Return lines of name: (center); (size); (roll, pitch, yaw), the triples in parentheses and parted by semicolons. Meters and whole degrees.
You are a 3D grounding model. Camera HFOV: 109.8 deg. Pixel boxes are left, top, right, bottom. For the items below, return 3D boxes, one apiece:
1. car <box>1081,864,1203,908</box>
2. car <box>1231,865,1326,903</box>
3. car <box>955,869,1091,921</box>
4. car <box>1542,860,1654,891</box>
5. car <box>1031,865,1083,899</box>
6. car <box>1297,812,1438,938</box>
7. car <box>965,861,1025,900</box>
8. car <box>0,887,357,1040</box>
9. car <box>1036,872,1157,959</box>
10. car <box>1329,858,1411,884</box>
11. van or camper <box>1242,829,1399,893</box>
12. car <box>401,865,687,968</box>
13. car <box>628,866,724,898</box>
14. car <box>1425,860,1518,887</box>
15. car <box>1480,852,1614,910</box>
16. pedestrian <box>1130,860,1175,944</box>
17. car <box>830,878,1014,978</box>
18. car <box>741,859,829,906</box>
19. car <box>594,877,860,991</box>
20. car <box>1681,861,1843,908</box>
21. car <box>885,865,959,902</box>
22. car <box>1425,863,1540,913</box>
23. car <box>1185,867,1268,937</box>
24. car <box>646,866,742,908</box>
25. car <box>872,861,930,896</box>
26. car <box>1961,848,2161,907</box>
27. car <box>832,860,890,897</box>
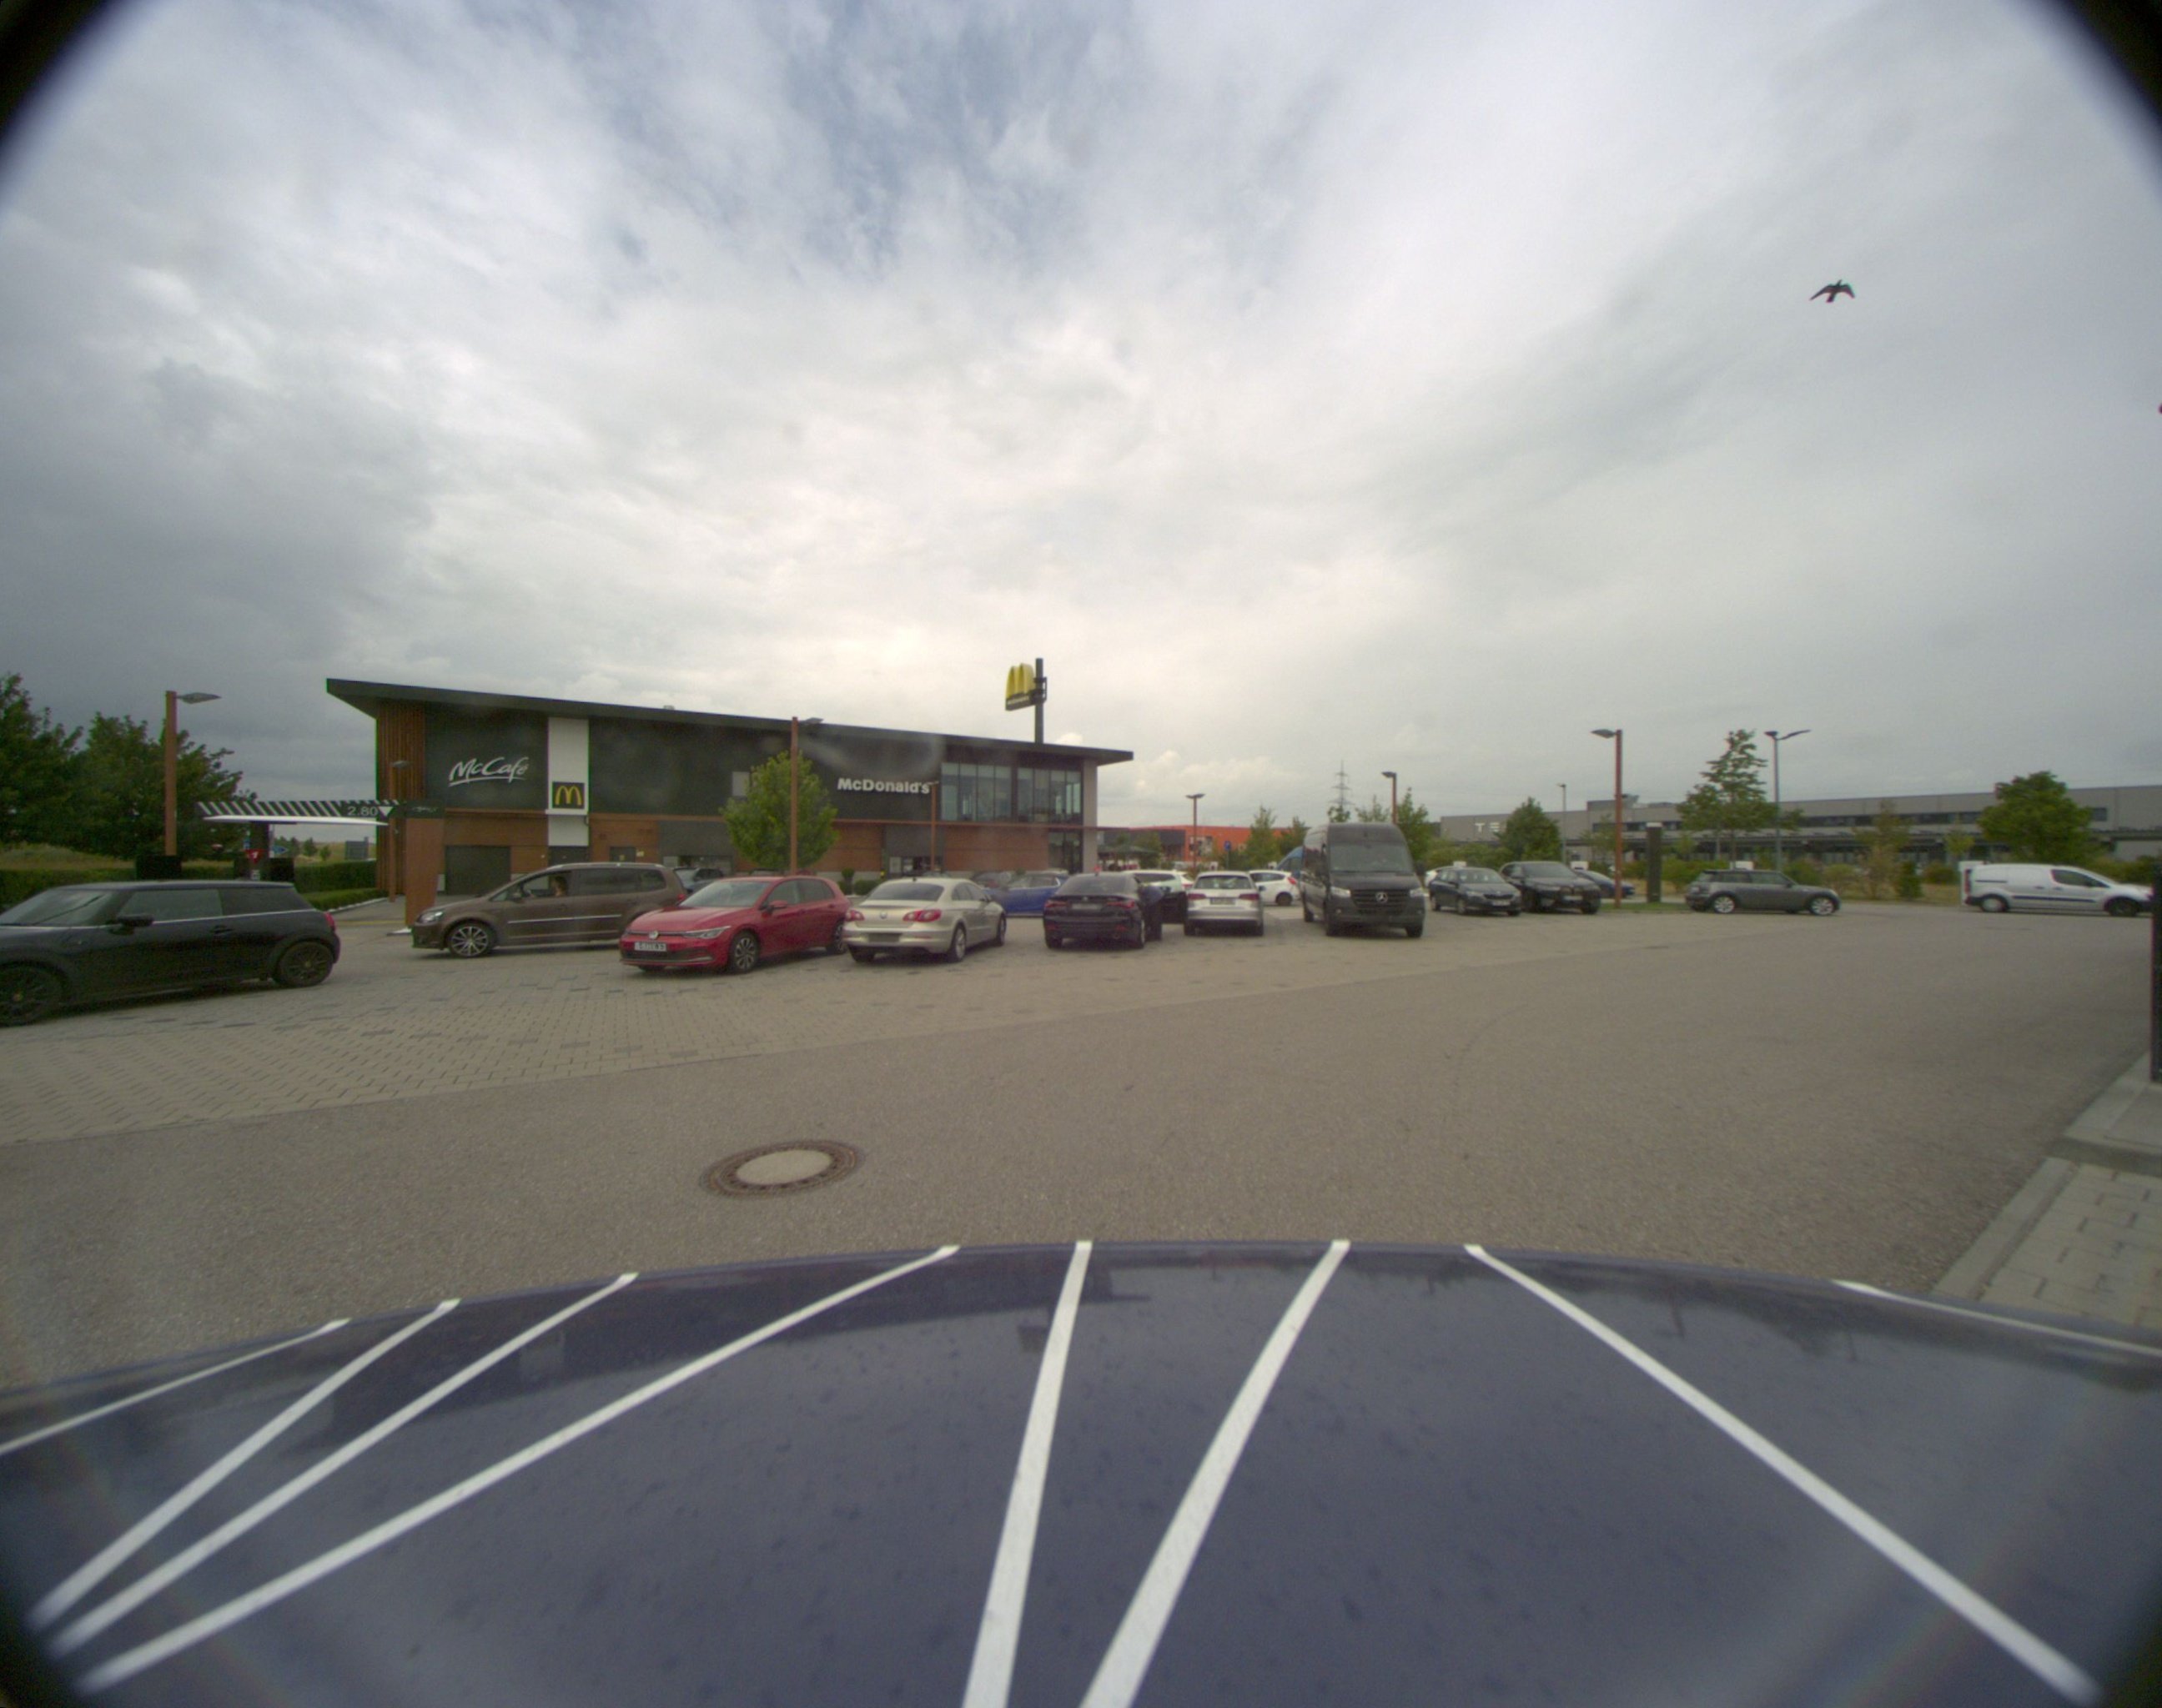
car: (2.169, 1.136, 26.611); (4.105, 1.457, 1.782); (-1, -2, 9)
car: (7.846, 1.196, 30.458); (3.568, 1.445, 1.844); (-1, -1, 11)
car: (-1.847, 1.293, 24.652); (3.992, 1.501, 1.771); (1, 0, 14)
car: (26.589, 1.054, 39.224); (1.837, 1.450, 4.446); (-1, 0, -29)
car: (-1.210, 1.430, 40.286); (1.787, 1.478, 4.003); (1, 2, 13)
car: (6.803, 0.499, 18.919); (2.070, 2.538, 7.020); (-1, -1, 11)
car: (-4.221, 1.243, 37.889); (1.895, 1.652, 4.261); (1, 2, 9)
car: (-11.200, 1.149, 8.731); (1.685, 1.403, 3.934); (-1, -1, 9)
car: (0.477, 1.139, 15.548); (1.684, 1.454, 4.412); (-1, -1, 11)
car: (19.385, 1.115, 51.112); (2.076, 1.593, 4.932); (0, 1, -31)
van or camper: (10.864, 0.361, 34.804); (6.560, 2.684, 2.176); (-2, -1, 17)
car: (-9.958, 1.085, 14.445); (4.199, 1.680, 1.806); (1, 0, -34)
car: (-19.891, 1.369, 37.355); (4.007, 1.497, 1.784); (1, 0, -32)
car: (23.133, 1.125, 45.199); (2.077, 1.544, 4.467); (-1, 0, -33)
car: (15.310, 0.837, 25.339); (1.997, 1.717, 4.900); (0, -1, 8)
pedestrian: (1.487, 0.979, 15.692); (0.748, 1.668, 0.843); (-2, -1, 12)
car: (-2.596, 1.179, 13.580); (1.751, 1.403, 4.463); (-1, -1, 8)
car: (-12.795, 1.181, 33.139); (1.998, 1.740, 4.000); (1, 2, 5)
car: (-5.404, 1.140, 12.244); (1.684, 1.455, 4.005); (-1, -1, 15)
car: (21.709, 0.947, 24.377); (3.519, 1.368, 1.612); (1, 0, 18)
car: (-7.477, 1.360, 36.223); (1.834, 1.565, 4.097); (0, 0, 14)
car: (12.461, 1.003, 23.891); (1.830, 1.403, 4.002); (-1, 0, 6)
car: (3.507, 1.063, 18.006); (1.684, 1.442, 4.005); (-1, -1, 13)
car: (-16.000, 1.317, 31.666); (1.748, 1.575, 3.907); (1, -1, 5)
car: (-9.563, 1.258, 40.159); (1.756, 1.743, 3.990); (1, -1, -33)
car: (34.182, 0.756, 26.472); (1.950, 1.877, 4.326); (1, -1, -32)
car: (-11.321, 1.216, 38.911); (1.756, 1.743, 3.990); (1, -1, -33)
